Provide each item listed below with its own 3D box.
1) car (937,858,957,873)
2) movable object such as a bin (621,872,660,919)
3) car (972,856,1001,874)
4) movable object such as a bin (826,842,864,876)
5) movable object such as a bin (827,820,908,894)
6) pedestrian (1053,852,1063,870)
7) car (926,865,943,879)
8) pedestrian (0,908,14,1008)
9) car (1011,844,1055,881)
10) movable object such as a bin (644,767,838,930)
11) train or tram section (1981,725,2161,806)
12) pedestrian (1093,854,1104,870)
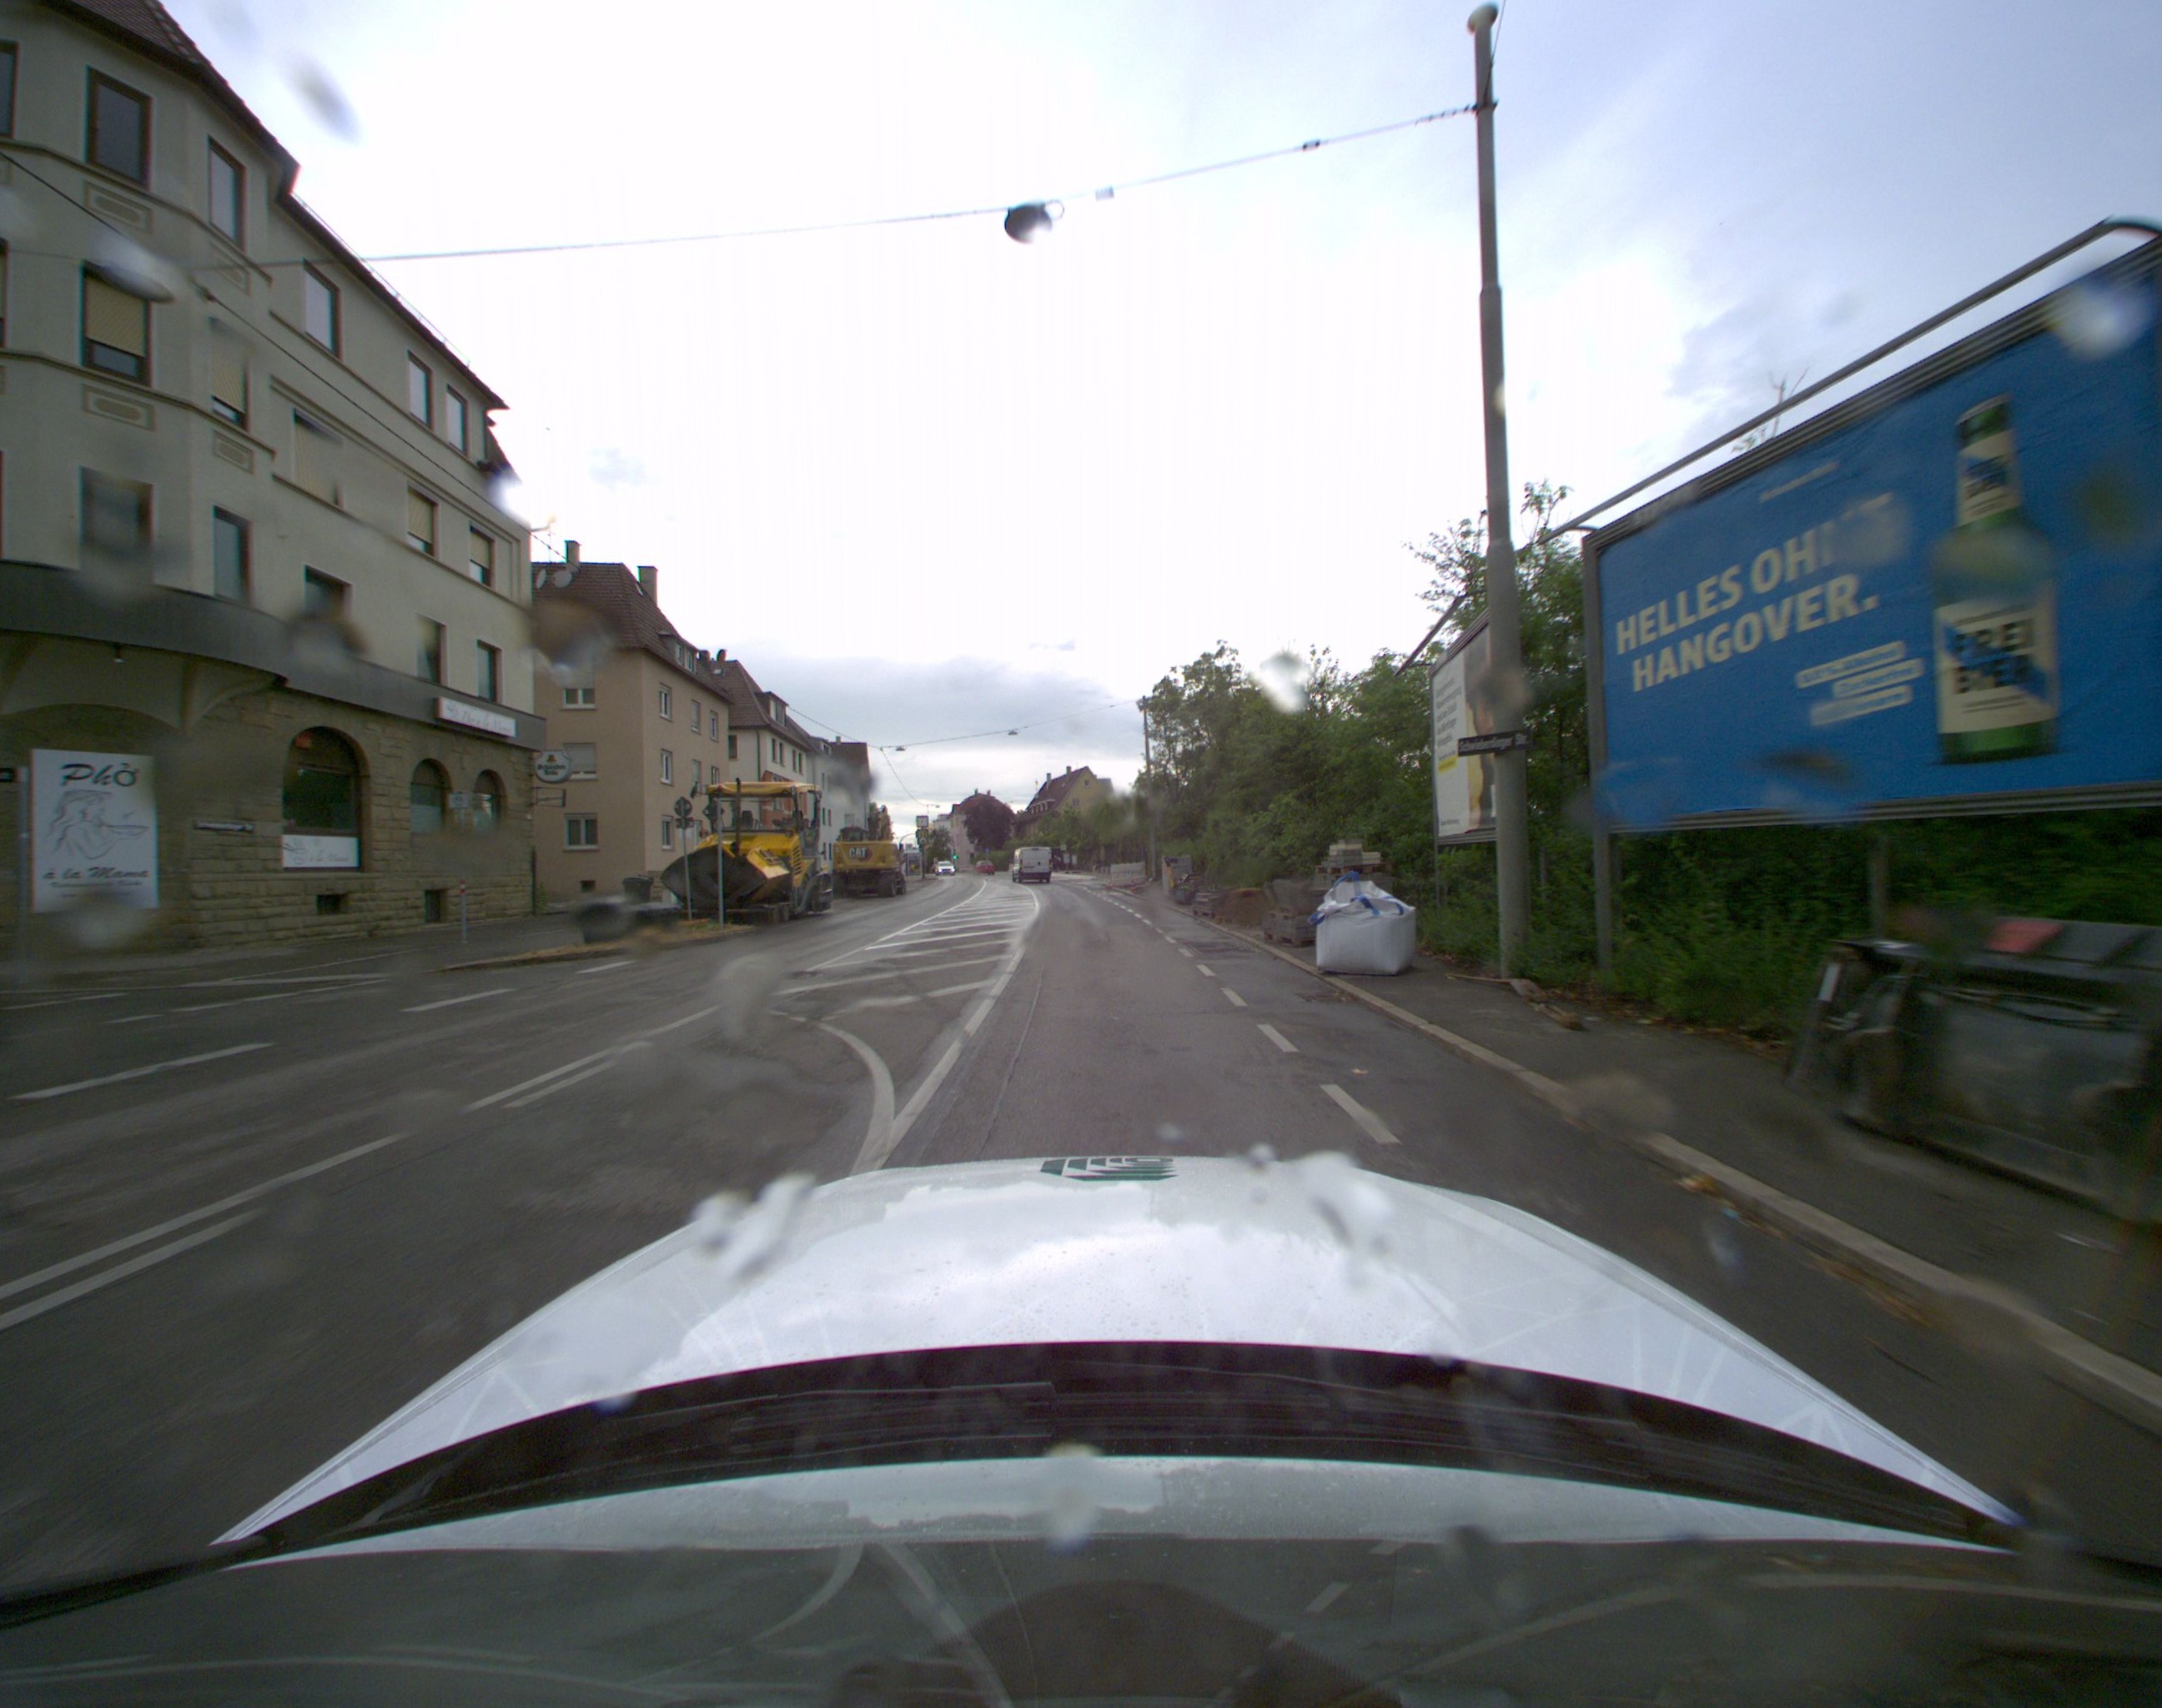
[{"bbox_3d":[-14.468,1.283,87.744,1.931,1.556,4.599,0,-1,-13],"label":"car"},{"bbox_3d":[-12.497,1.161,23.086,0.896,1.222,1.192,-1,2,-31],"label":"movable object such as a bin"},{"bbox_3d":[-9.726,1.088,83.870,2.242,1.656,4.688,-1,2,-16],"label":"car"},{"bbox_3d":[-19.562,0.354,67.682,1.989,2.682,4.623,0,1,-3],"label":"movable object such as a bin"},{"bbox_3d":[-9.653,0.149,37.238,2.866,3.173,4.119,0,0,-4],"label":"movable object such as a bin"},{"bbox_3d":[-2.230,0.668,78.177,0.903,1.731,0.653,0,1,-2],"label":"pedestrian"},{"bbox_3d":[-22.272,2.743,123.808,2.240,1.804,4.692,-1,2,-13],"label":"car"},{"bbox_3d":[-13.181,1.250,9.581,0.735,1.123,0.736,1,2,37],"label":"pedestrian"},{"bbox_3d":[-3.185,0.496,52.963,2.238,2.213,4.696,0,2,-11],"label":"car"},{"bbox_3d":[-8.920,-0.213,22.230,2.766,3.855,5.987,0,1,0],"label":"movable object such as a bin"},{"bbox_3d":[56.833,-4.643,40.869,3.187,3.829,18.492,0,2,1],"label":"train or tram section"},{"bbox_3d":[1.495,0.704,69.878,0.877,1.367,1.064,0,1,-3],"label":"pedestrian"}]
